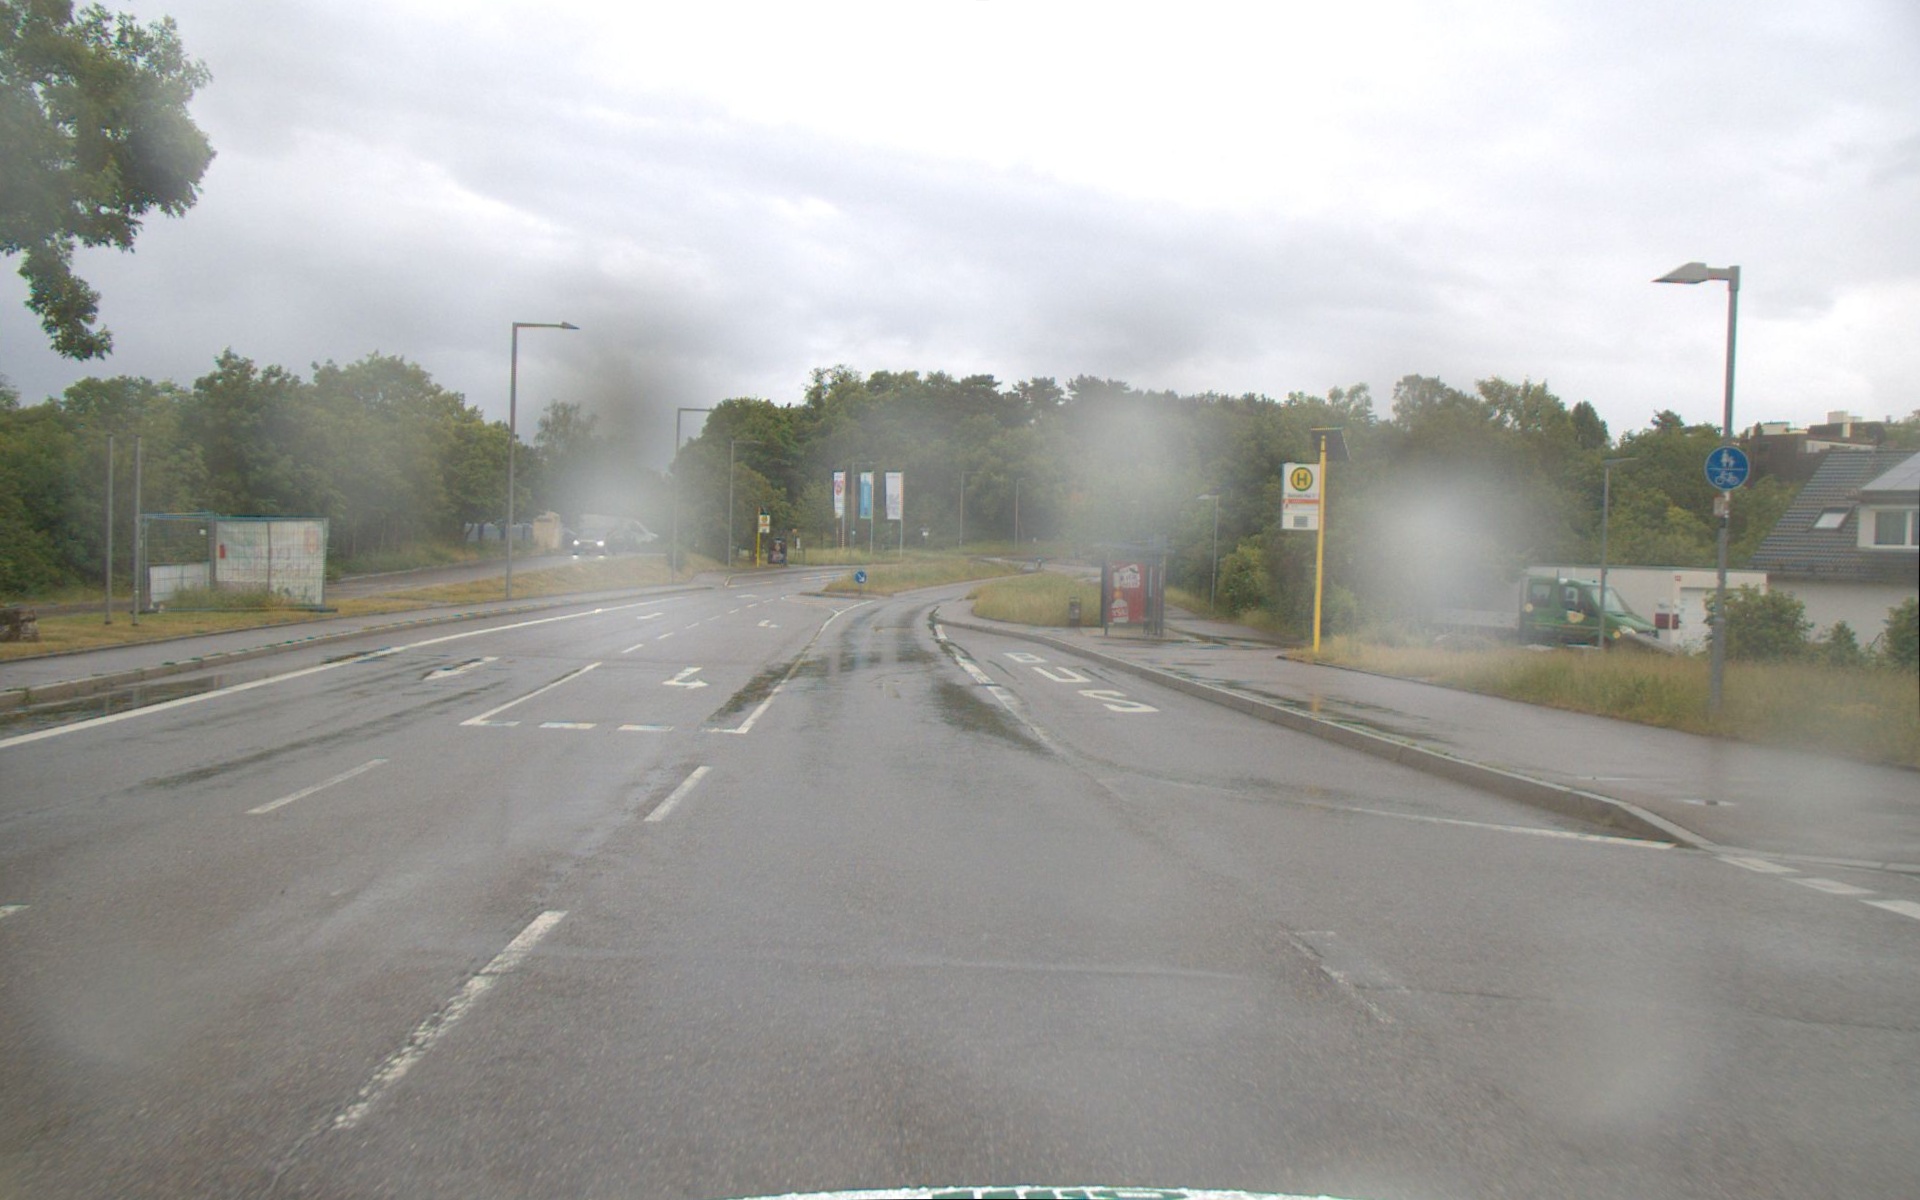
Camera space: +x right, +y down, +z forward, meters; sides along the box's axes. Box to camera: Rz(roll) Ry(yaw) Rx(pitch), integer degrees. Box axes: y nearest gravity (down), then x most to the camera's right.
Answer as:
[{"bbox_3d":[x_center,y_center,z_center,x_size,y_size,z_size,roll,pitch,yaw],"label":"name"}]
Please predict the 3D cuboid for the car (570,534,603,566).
[{"bbox_3d":[-21.132,-2.812,93.523,1.660,1.648,3.880,1,0,-14],"label":"car"}]

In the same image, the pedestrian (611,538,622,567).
[{"bbox_3d":[-19.635,-2.714,94.515,0.556,1.648,0.635,1,0,-14],"label":"pedestrian"}]

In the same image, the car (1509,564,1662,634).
[{"bbox_3d":[16.959,0.000,44.896,1.984,1.720,3.369,6,-4,-43],"label":"car"}]

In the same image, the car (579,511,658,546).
[{"bbox_3d":[-25.859,-5.396,125.418,5.563,2.446,1.999,1,0,-3],"label":"car"}]
